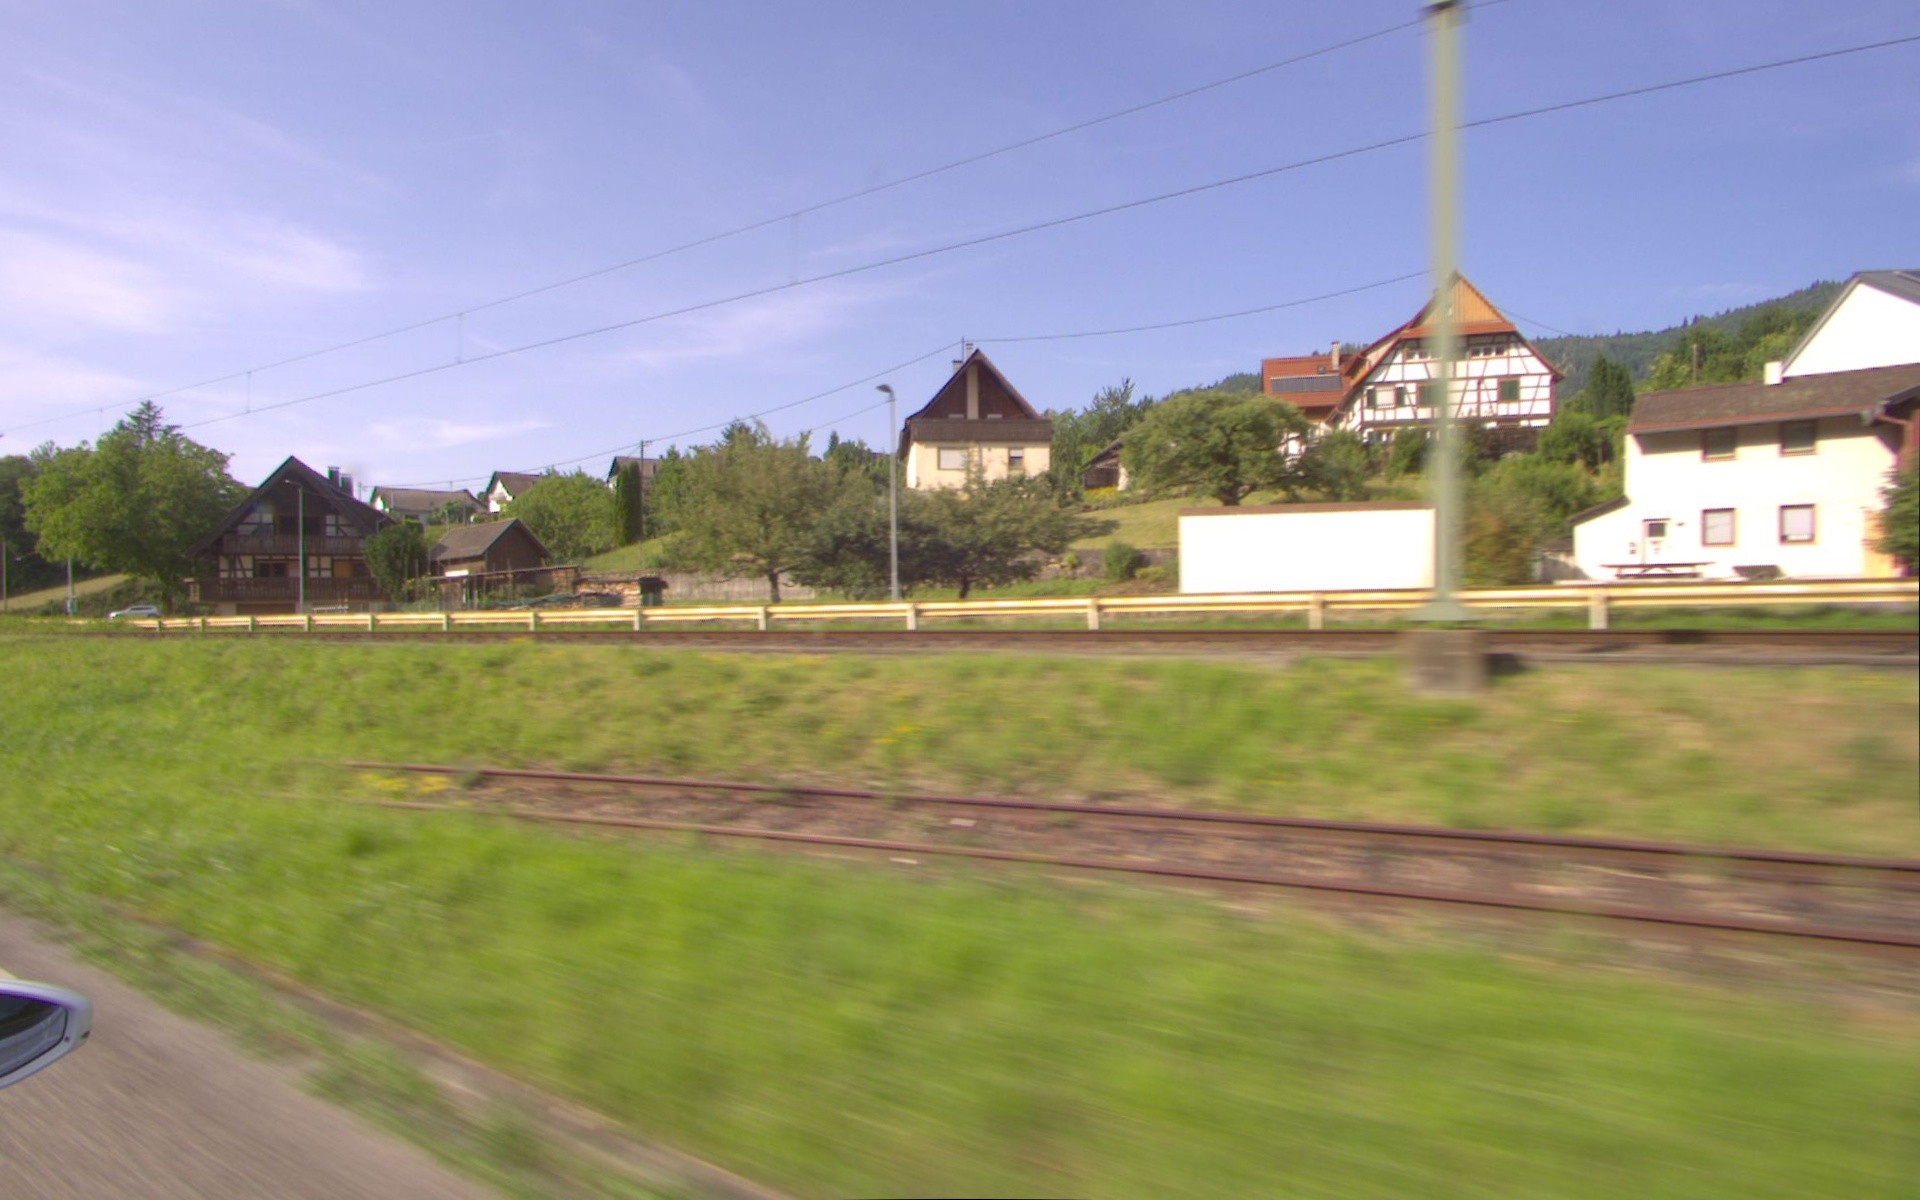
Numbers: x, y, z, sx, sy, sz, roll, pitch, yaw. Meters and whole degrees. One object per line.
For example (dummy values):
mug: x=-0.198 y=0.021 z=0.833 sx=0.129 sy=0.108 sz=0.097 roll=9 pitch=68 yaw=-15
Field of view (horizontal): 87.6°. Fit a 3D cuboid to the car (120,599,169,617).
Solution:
car: x=-86.848 y=0.839 z=106.662 sx=3.952 sy=1.907 sz=1.863 roll=0 pitch=1 yaw=-37
